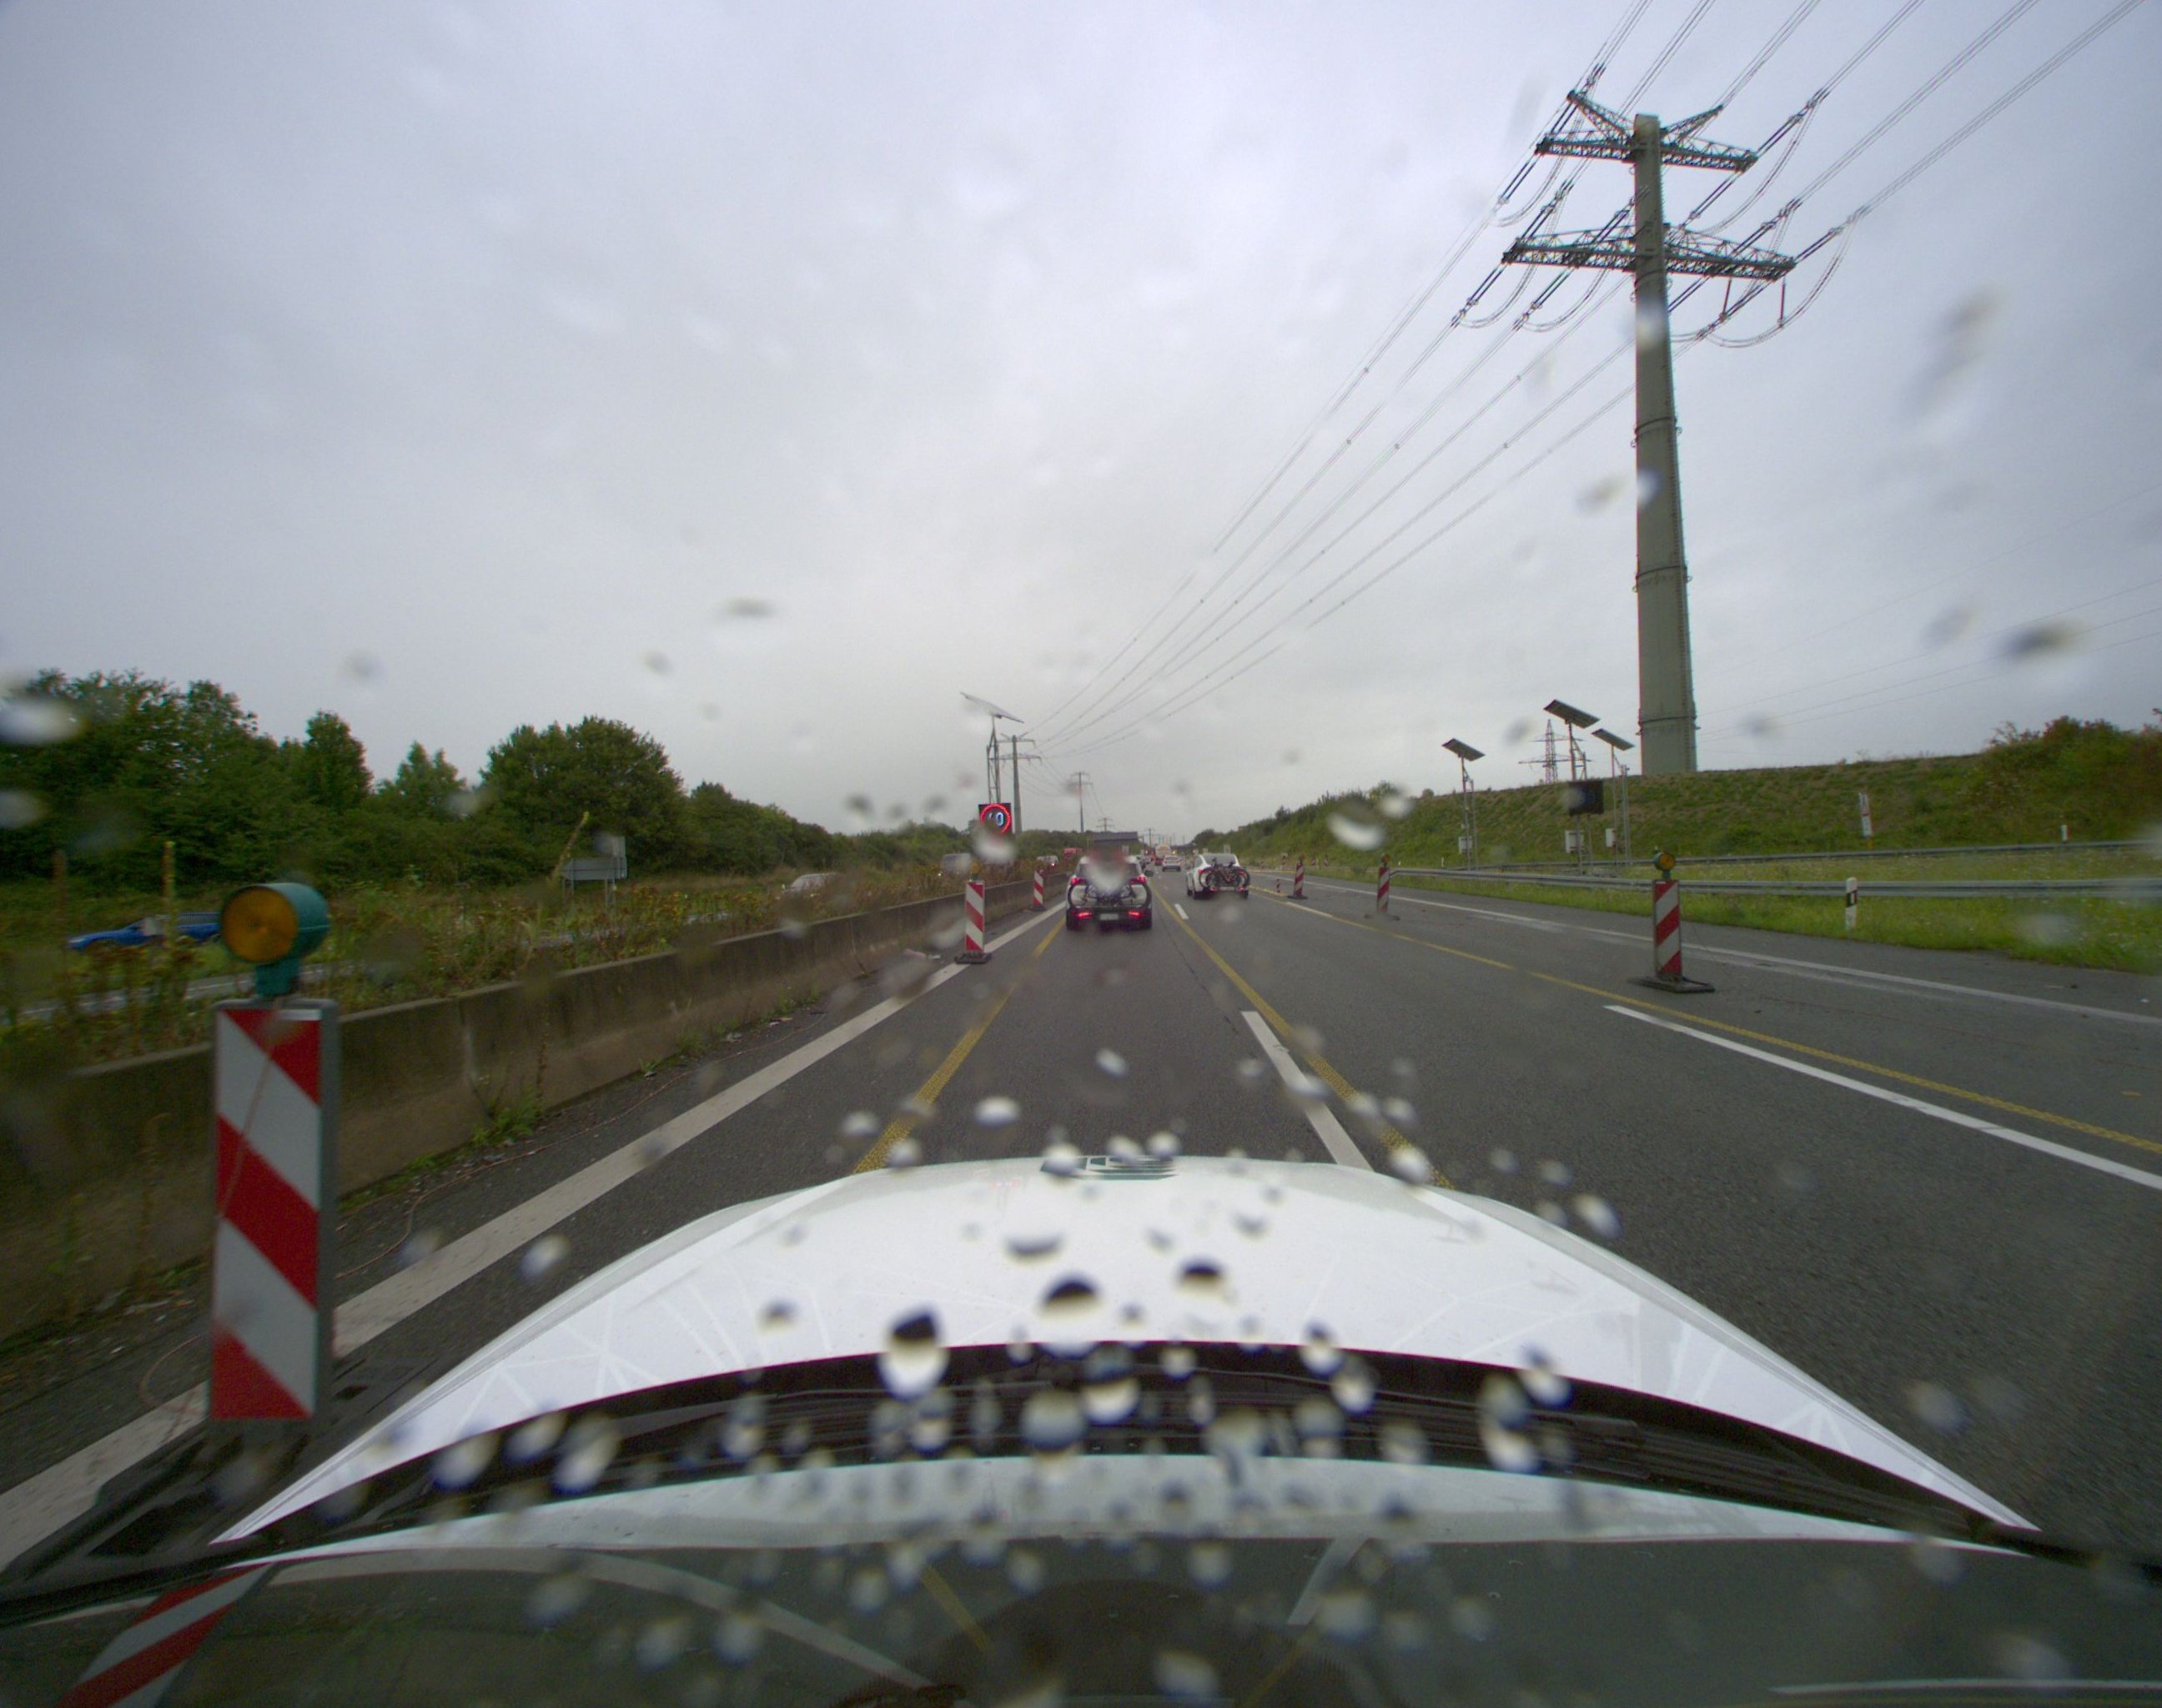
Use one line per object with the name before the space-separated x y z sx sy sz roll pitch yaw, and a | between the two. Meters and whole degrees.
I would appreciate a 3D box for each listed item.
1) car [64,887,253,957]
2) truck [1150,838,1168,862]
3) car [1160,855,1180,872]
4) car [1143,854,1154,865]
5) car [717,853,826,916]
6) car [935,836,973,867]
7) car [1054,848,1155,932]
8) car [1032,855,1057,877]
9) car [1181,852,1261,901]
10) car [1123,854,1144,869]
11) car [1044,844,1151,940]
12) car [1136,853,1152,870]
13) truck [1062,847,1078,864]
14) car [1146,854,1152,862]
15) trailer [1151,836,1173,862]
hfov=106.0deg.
car | -33.281 2.374 29.499 1.674 2.110 4.312 -3 0 34
truck | 13.124 -0.634 137.438 2.635 3.891 4.031 0 -1 1
car | 8.733 0.925 79.949 1.861 1.535 4.202 -1 0 5
car | 13.523 1.135 163.675 1.986 2.014 4.001 0 -1 1
car | -10.505 1.004 28.010 1.985 2.014 4.004 0 -1 4
car | -10.882 -0.179 70.473 2.042 2.609 5.851 0 -1 3
car | 0.606 0.708 18.057 1.920 1.611 4.600 -1 0 4
car | -3.425 1.141 77.588 1.760 2.014 5.260 0 0 4
car | 4.937 0.743 29.542 2.038 1.596 5.803 0 0 1
car | 5.604 0.781 87.158 1.986 1.584 4.001 -1 0 1
car | 0.417 0.727 17.720 1.985 1.760 4.003 -3 0 3
car | 8.809 1.018 114.033 1.986 2.012 4.003 0 5 1
truck | -2.281 0.278 171.418 3.011 3.531 4.931 0 -1 3
car | 18.255 1.144 218.902 1.645 2.014 4.006 -1 0 5
trailer | 12.949 -0.727 130.962 2.628 3.893 10.545 0 -1 1
